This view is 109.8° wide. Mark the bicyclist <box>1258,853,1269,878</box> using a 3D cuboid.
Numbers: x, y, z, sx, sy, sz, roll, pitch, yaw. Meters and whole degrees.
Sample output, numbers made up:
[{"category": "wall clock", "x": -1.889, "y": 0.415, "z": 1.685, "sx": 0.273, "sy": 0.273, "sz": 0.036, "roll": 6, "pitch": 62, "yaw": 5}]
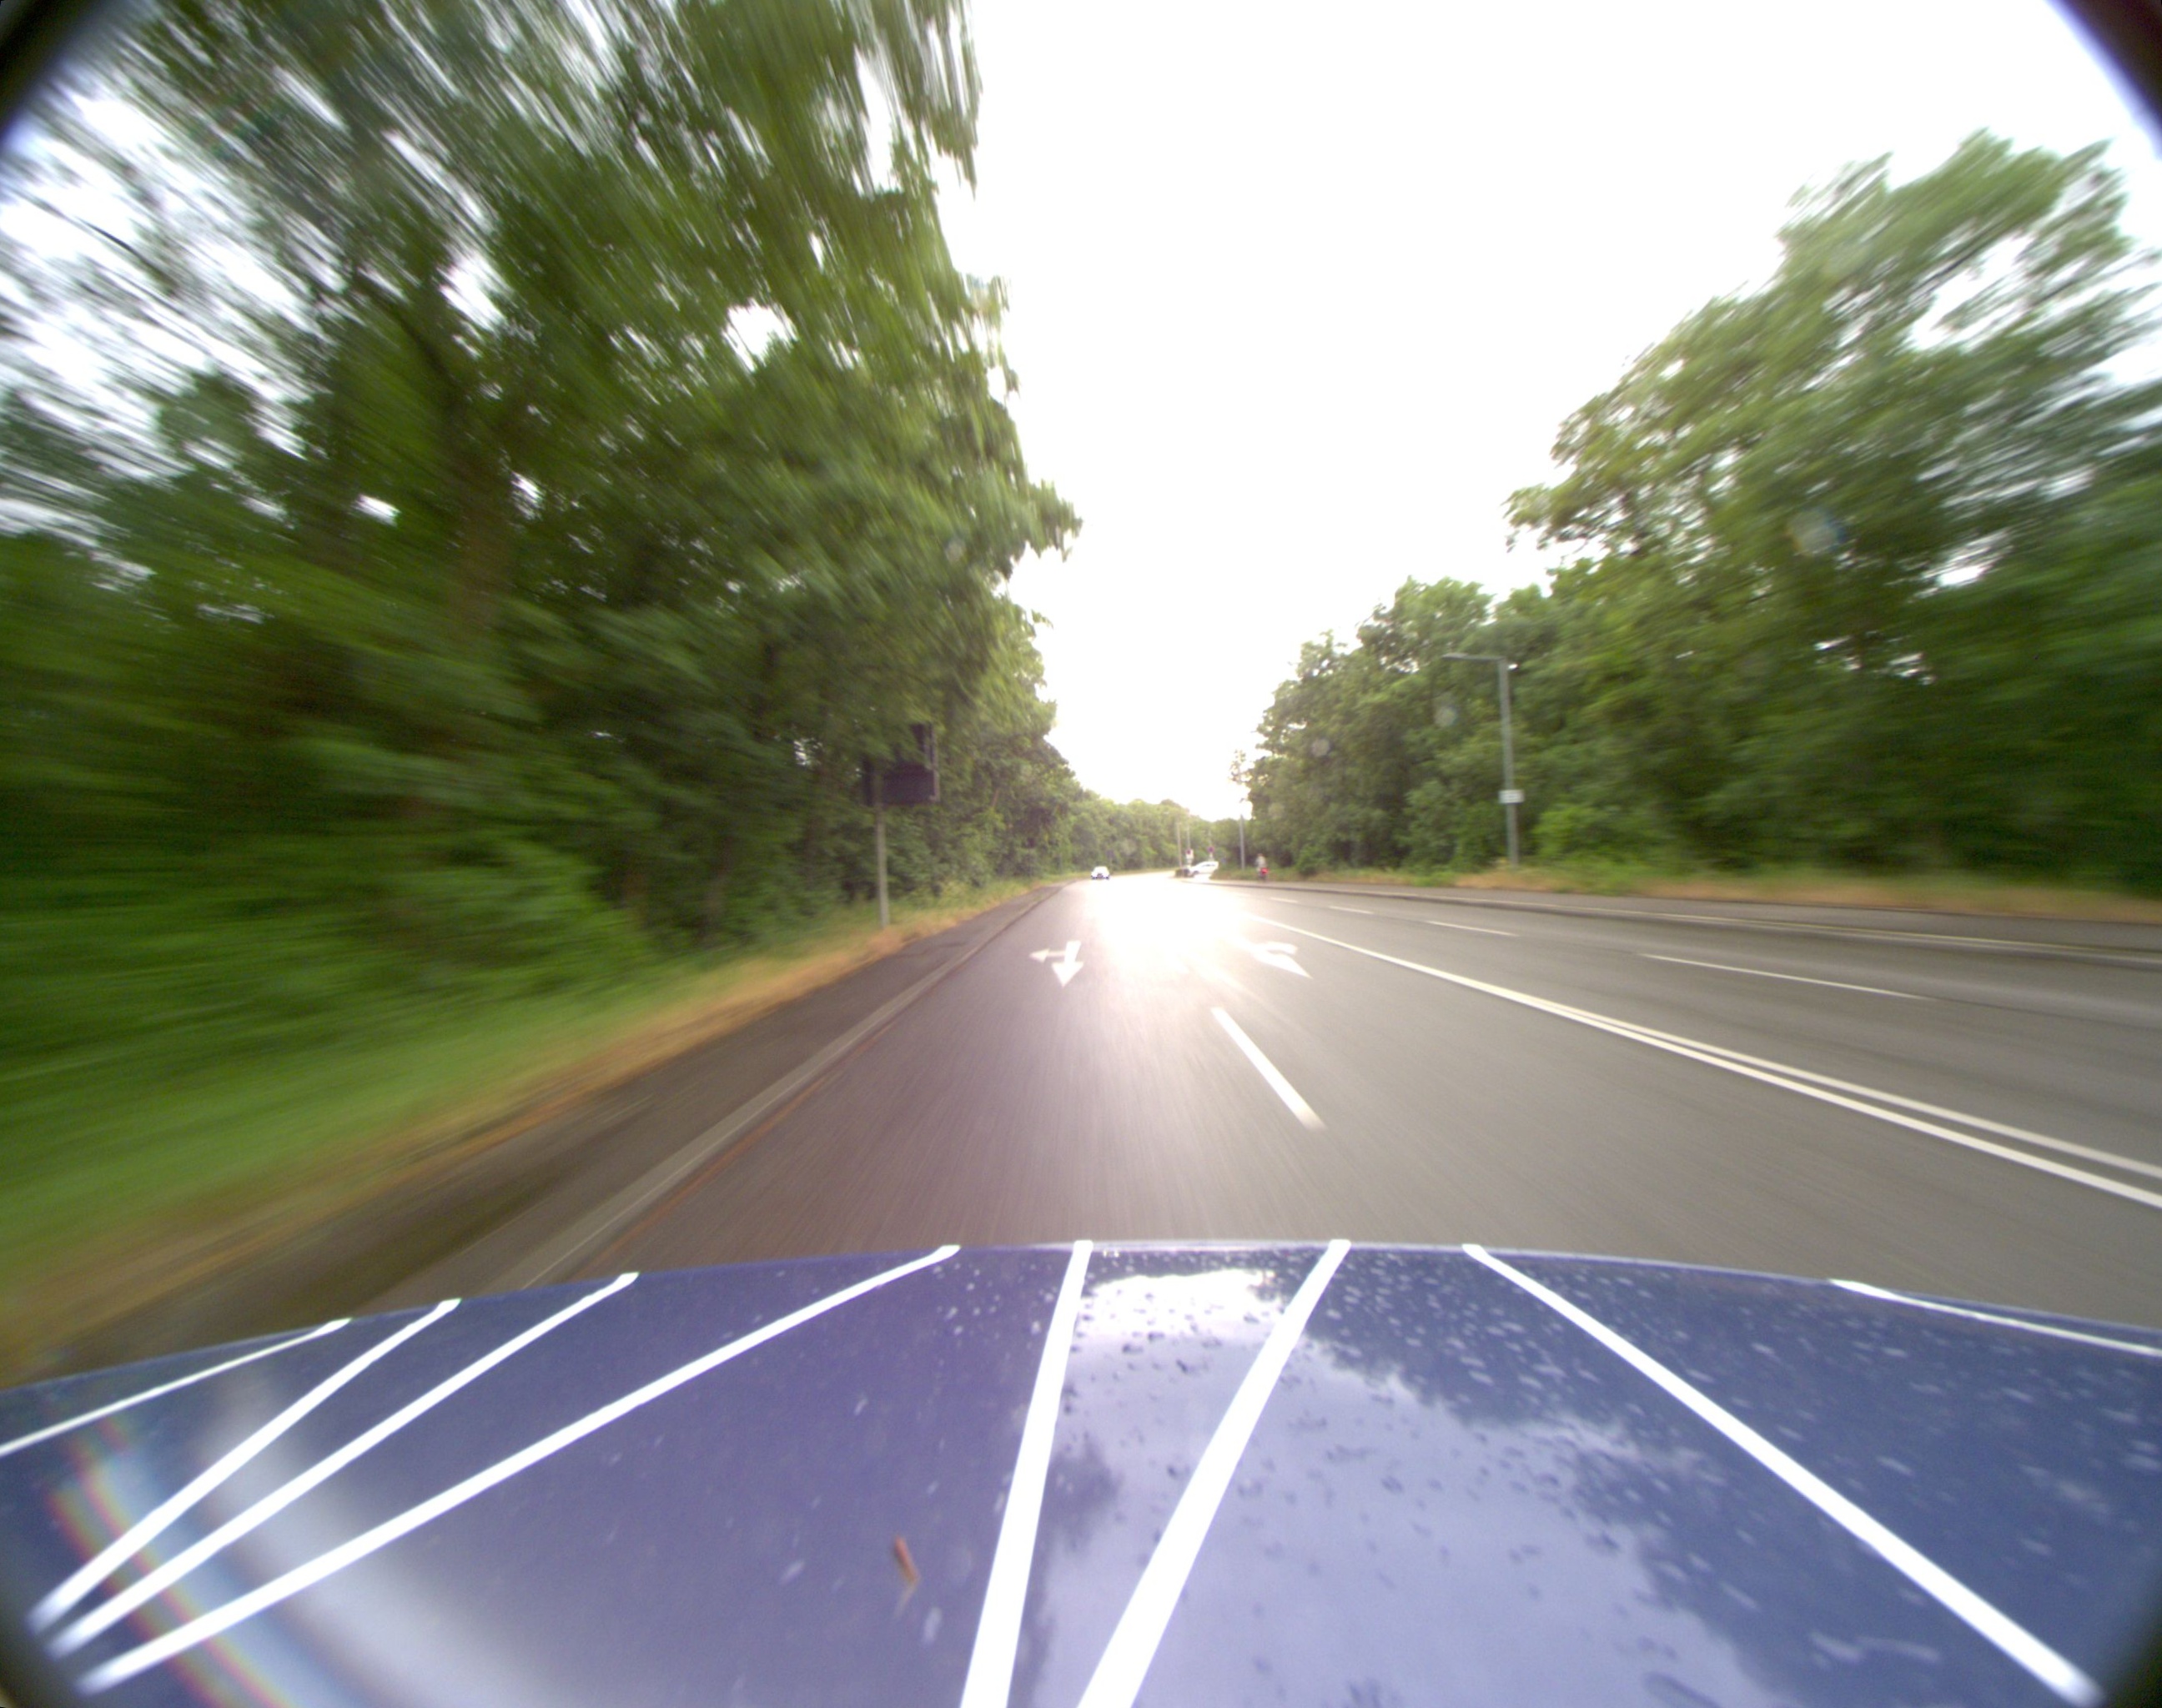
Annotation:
[{"category": "bicyclist", "x": 11.228, "y": 0.708, "z": 46.843, "sx": 0.580, "sy": 1.577, "sz": 0.700, "roll": -1, "pitch": 0, "yaw": 6}]

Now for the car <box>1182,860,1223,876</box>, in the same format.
[{"category": "car", "x": 14.843, "y": 1.646, "z": 92.769, "sx": 4.751, "sy": 1.706, "sz": 1.895, "roll": -3, "pitch": 0, "yaw": 6}]

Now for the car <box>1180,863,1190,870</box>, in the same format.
[{"category": "car", "x": 22.207, "y": 2.662, "z": 162.652, "sx": 1.855, "sy": 1.464, "sz": 3.917, "roll": 0, "pitch": -1, "yaw": 12}]

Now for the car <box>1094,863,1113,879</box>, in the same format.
[{"category": "car", "x": 2.406, "y": 1.839, "z": 82.026, "sx": 1.998, "sy": 1.576, "sz": 4.000, "roll": -1, "pitch": 0, "yaw": 1}]

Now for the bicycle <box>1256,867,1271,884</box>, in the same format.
[{"category": "bicycle", "x": 11.272, "y": 1.308, "z": 46.973, "sx": 0.453, "sy": 0.998, "sz": 2.018, "roll": -4, "pitch": -1, "yaw": 2}]
